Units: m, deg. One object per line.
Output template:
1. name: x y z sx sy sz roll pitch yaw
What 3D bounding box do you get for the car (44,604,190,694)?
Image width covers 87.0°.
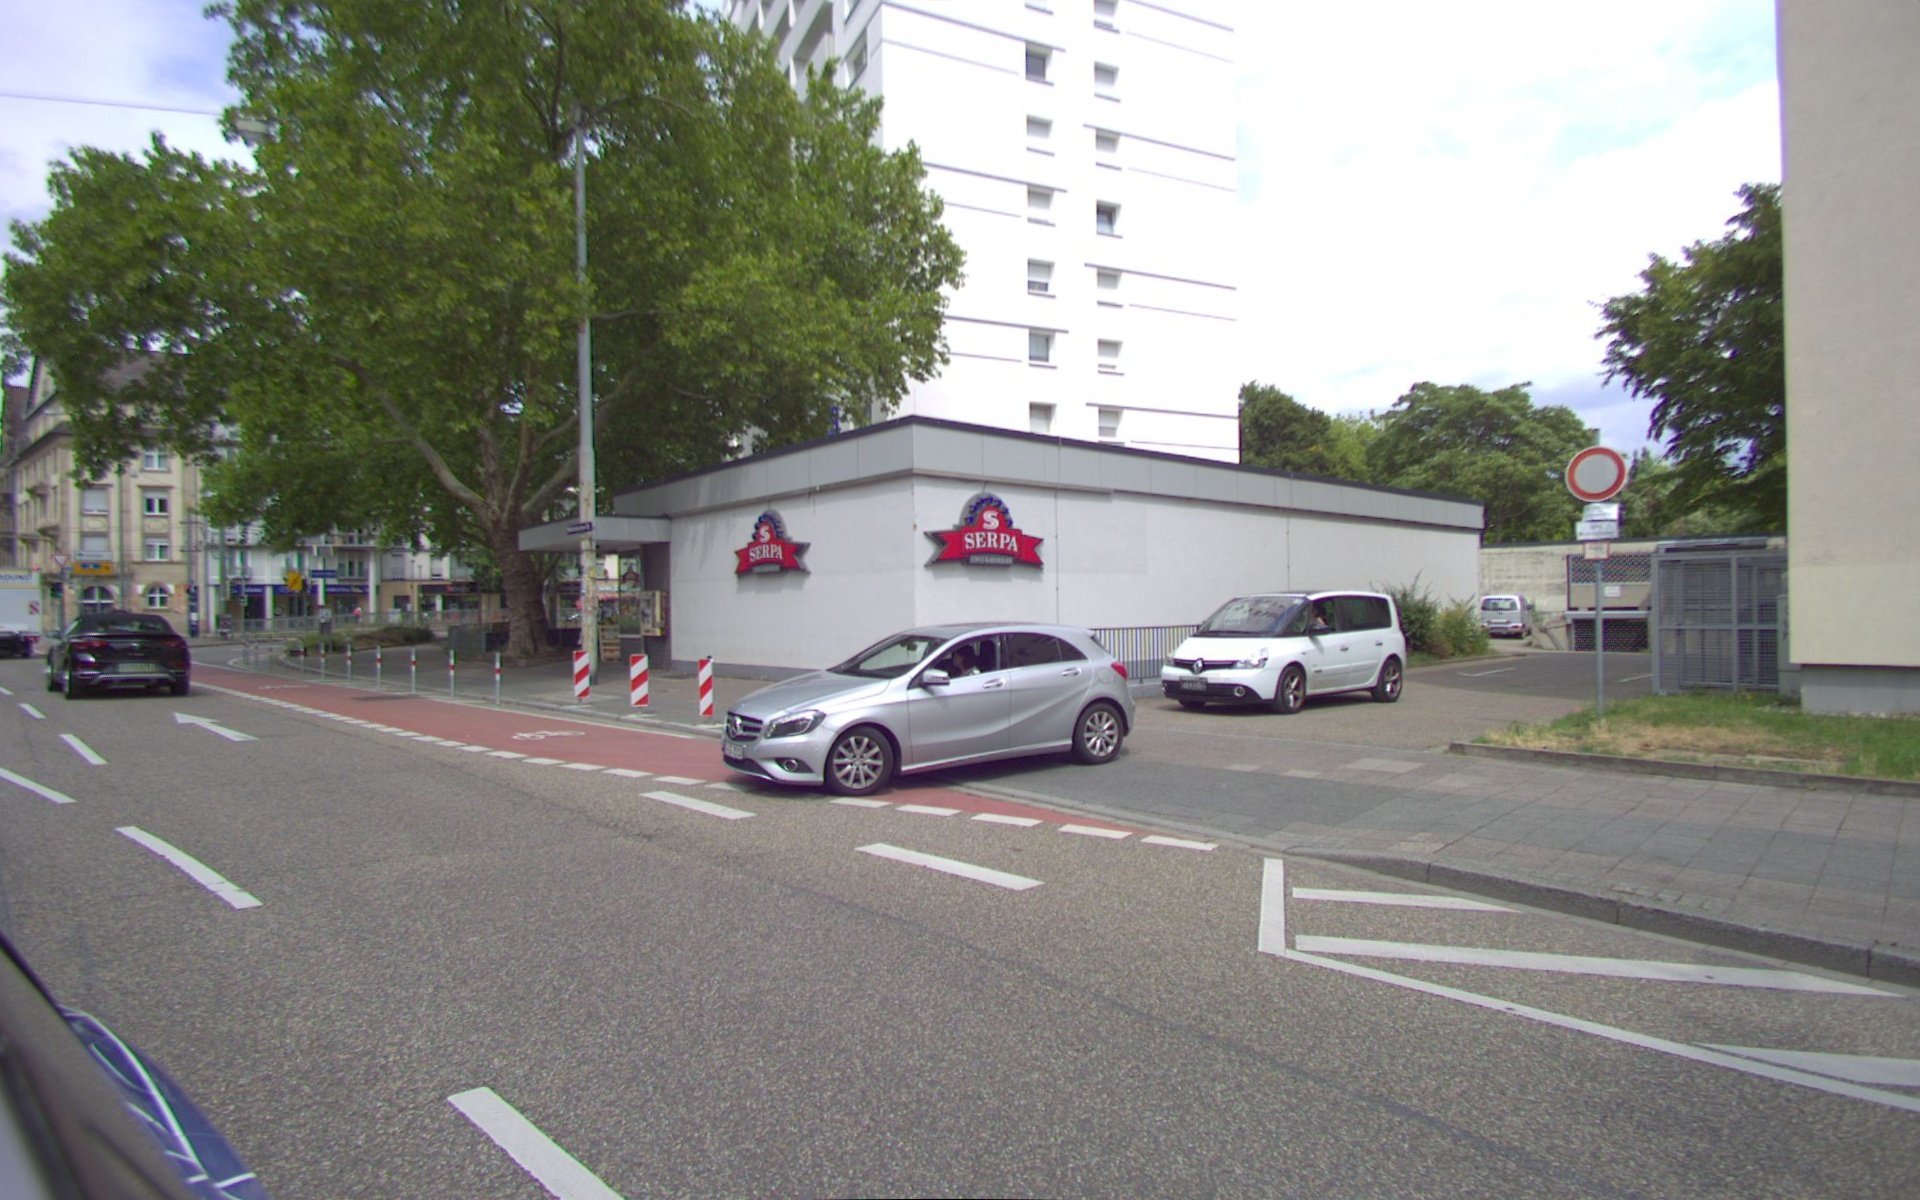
1. car: -16.027 0.897 19.177 4.001 1.530 1.678 -2 -2 44

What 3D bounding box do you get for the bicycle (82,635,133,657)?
1. bicycle: -43.599 2.344 51.780 1.938 1.103 0.628 2 -3 -36

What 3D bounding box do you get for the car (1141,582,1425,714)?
1. car: 4.932 0.674 15.152 4.572 1.699 1.852 1 -2 -39

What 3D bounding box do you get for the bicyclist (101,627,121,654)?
1. bicyclist: -43.459 2.095 51.819 0.740 1.352 0.493 0 -2 -36

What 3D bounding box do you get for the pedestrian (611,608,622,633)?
1. pedestrian: -28.282 1.680 83.251 0.744 2.029 0.763 0 -2 -25

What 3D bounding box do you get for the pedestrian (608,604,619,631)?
1. pedestrian: -29.063 1.455 84.933 0.744 2.267 0.763 0 -2 -25

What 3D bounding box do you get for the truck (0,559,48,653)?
1. truck: -34.847 0.262 36.224 7.019 3.131 2.514 -1 -3 42

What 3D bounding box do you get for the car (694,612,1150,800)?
1. car: -0.291 0.878 9.946 4.115 1.462 1.854 0 -2 -34

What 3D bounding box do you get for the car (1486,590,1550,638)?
1. car: 21.503 0.532 38.933 1.698 1.749 3.621 -1 -1 36

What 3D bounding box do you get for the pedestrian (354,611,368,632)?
1. pedestrian: -44.926 1.630 75.873 0.824 1.564 0.870 0 -1 -26
